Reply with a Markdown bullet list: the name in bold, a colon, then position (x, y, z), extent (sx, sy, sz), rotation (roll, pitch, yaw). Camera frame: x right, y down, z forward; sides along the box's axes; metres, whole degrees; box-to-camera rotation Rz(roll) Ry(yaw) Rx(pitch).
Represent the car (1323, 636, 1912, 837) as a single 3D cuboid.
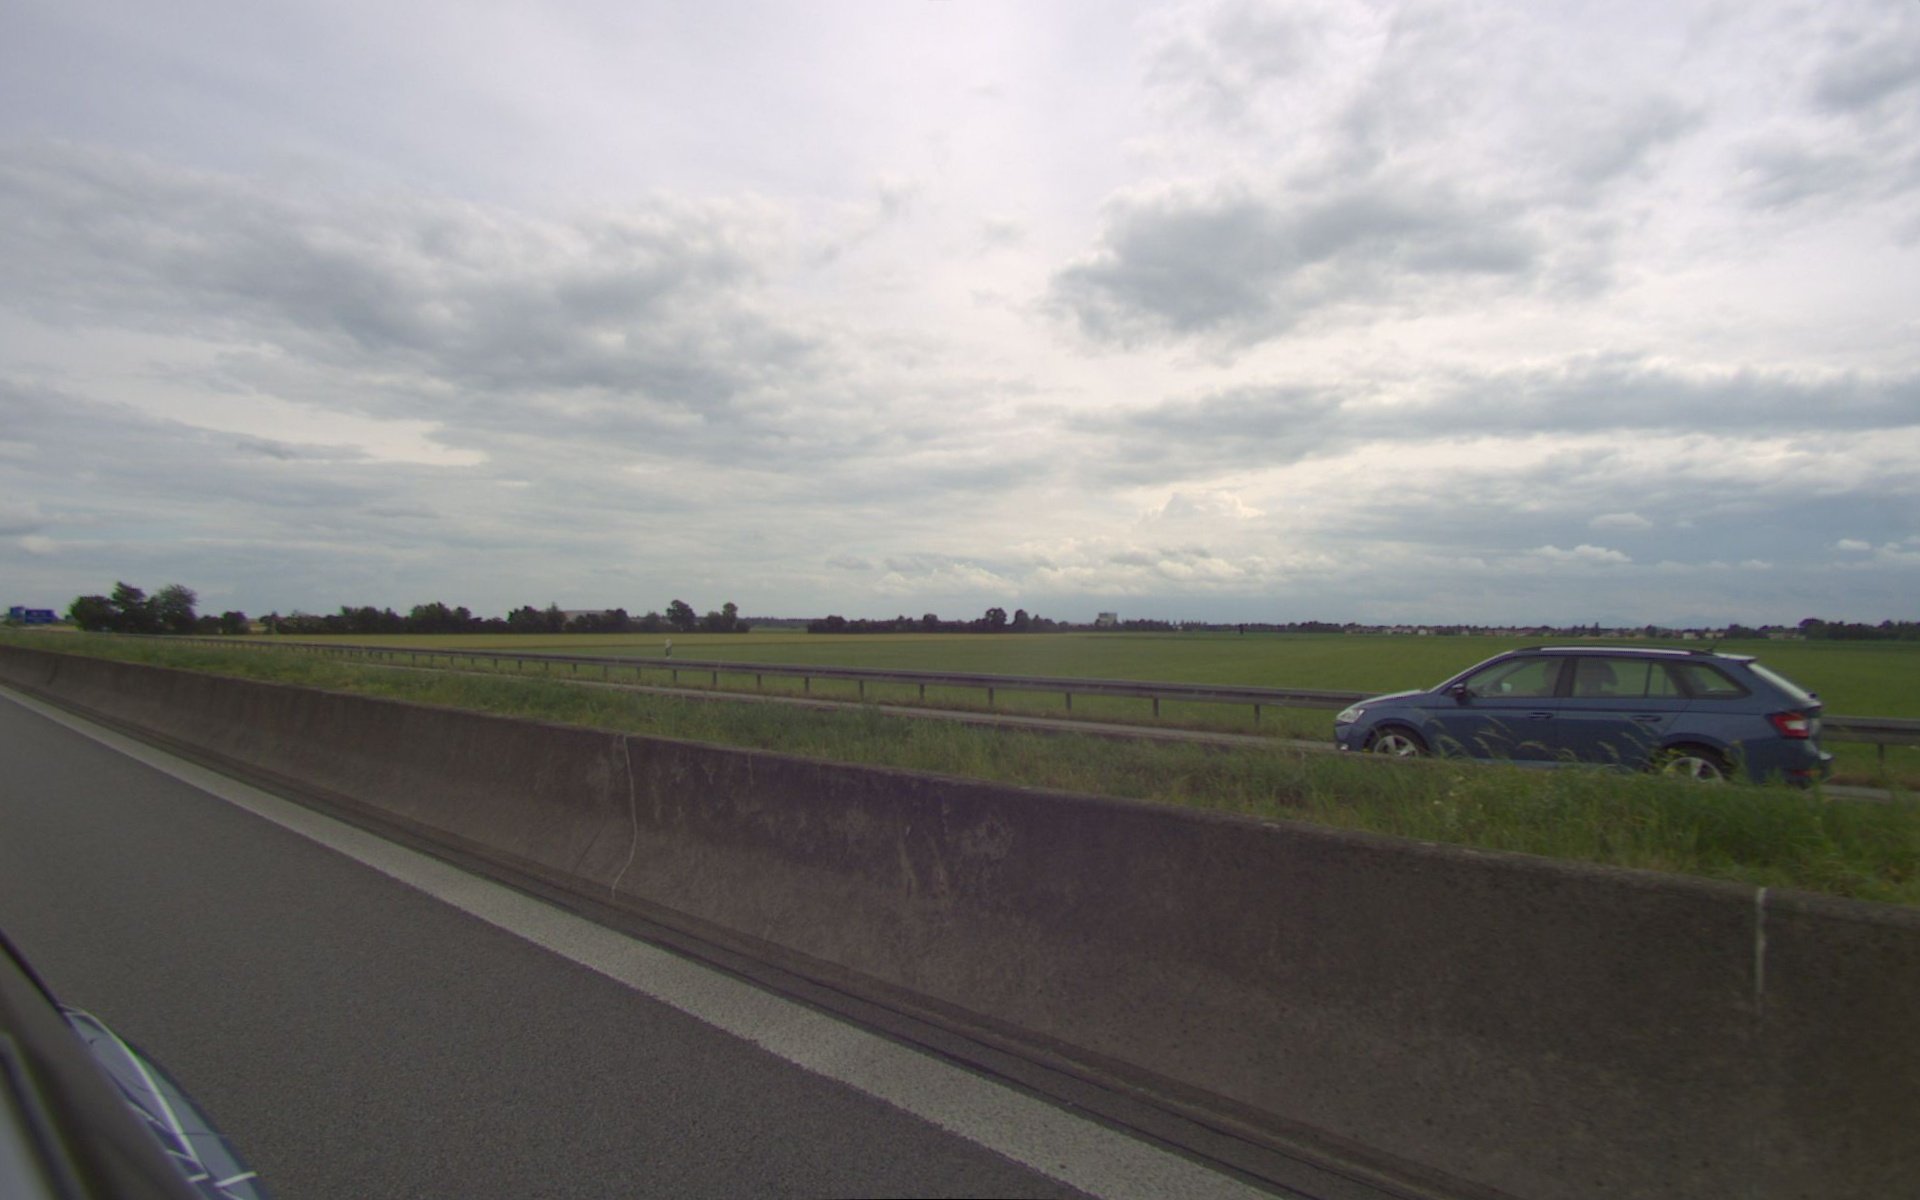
- **car**: position (6.102, 1.133, 9.874), extent (4.528, 1.499, 1.728), rotation (-1, -4, 41)
